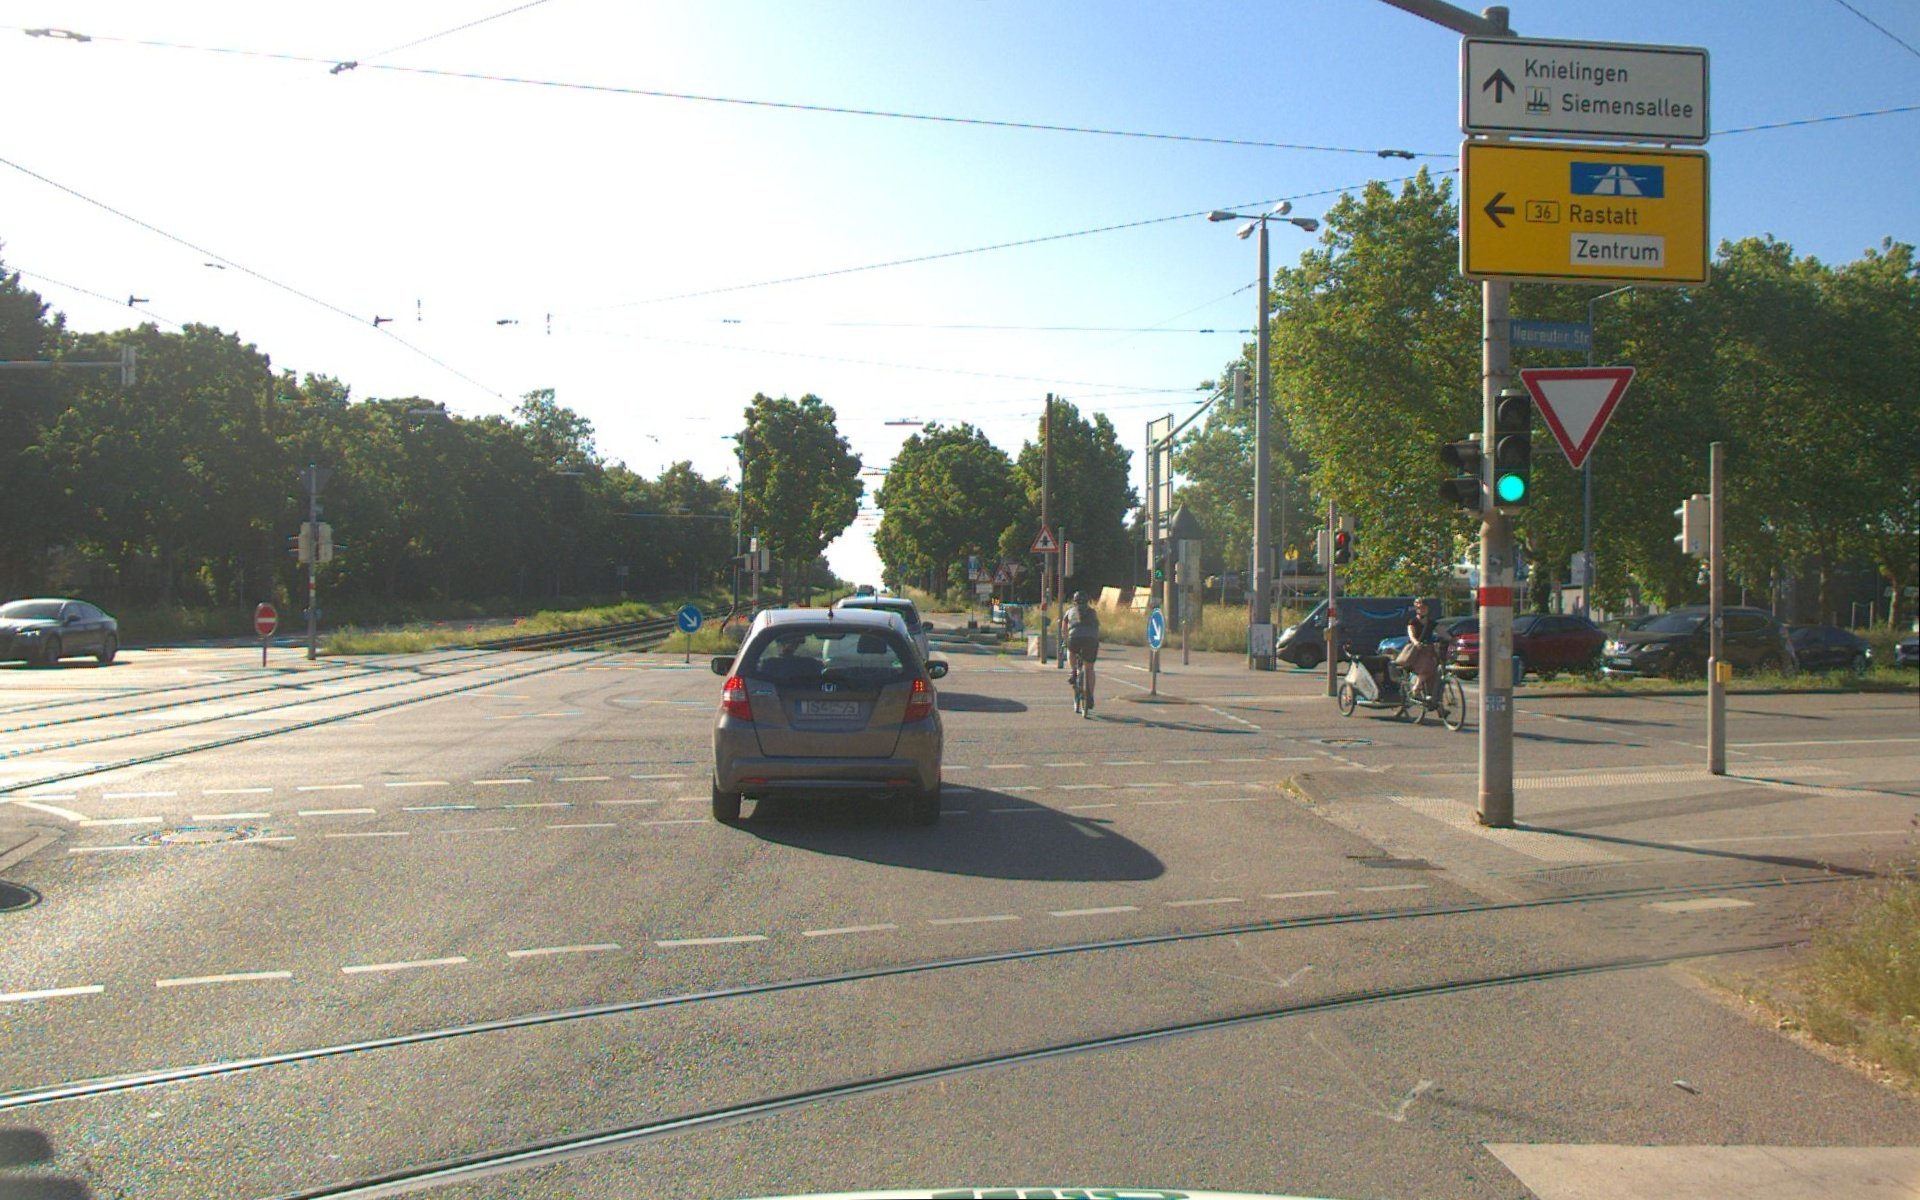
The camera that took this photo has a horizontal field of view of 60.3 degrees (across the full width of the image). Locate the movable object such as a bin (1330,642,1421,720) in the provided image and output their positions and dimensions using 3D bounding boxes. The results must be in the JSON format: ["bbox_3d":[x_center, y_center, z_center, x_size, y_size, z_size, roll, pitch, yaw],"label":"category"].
[{"bbox_3d":[6.081,1.168,24.272,0.891,1.087,1.314,0,-1,-7],"label":"movable object such as a bin"}]

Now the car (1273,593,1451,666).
[{"bbox_3d":[12.087,0.885,50.005,4.994,2.106,2.132,0,-1,6],"label":"car"}]

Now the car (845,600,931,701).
[{"bbox_3d":[-1.158,0.789,27.046,1.324,1.554,3.122,0,-1,-2],"label":"car"}]

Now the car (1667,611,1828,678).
[{"bbox_3d":[19.988,1.114,41.981,3.798,1.628,1.699,1,-1,-25],"label":"car"}]

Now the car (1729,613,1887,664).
[{"bbox_3d":[24.665,1.098,48.101,4.504,1.432,1.916,1,-1,-29],"label":"car"}]

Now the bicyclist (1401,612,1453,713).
[{"bbox_3d":[6.435,0.854,22.796,0.500,1.364,0.563,0,-1,-11],"label":"bicyclist"}]

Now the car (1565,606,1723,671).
[{"bbox_3d":[18.721,1.032,45.252,4.116,1.708,1.916,1,-1,-29],"label":"car"}]

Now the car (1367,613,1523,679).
[{"bbox_3d":[12.448,1.153,42.392,3.805,1.628,1.696,0,-1,-29],"label":"car"}]

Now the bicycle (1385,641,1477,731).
[{"bbox_3d":[6.379,1.140,22.483,0.458,1.138,1.815,1,0,-10],"label":"bicycle"}]

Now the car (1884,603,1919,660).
[{"bbox_3d":[30.788,1.027,50.944,4.706,1.712,1.891,2,-2,-28],"label":"car"}]

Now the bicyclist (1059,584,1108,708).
[{"bbox_3d":[1.733,0.637,23.352,0.602,1.709,0.933,0,-1,-2],"label":"bicyclist"}]

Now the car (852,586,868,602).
[{"bbox_3d":[-12.838,-0.774,212.938,1.953,2.049,3.998,0,-1,-2],"label":"car"}]

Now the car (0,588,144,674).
[{"bbox_3d":[-19.091,0.639,35.296,1.757,1.717,3.995,0,-1,-7],"label":"car"}]

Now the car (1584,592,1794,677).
[{"bbox_3d":[15.766,0.727,35.739,4.430,1.741,1.903,0,-1,-29],"label":"car"}]

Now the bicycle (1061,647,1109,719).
[{"bbox_3d":[1.761,1.162,23.562,0.513,0.939,2.089,0,-1,0],"label":"bicycle"}]

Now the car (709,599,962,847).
[{"bbox_3d":[-0.864,0.824,12.924,1.637,1.541,3.673,2,1,-1],"label":"car"}]

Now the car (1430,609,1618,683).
[{"bbox_3d":[13.022,1.029,38.204,4.025,1.628,1.802,0,-1,-25],"label":"car"}]
